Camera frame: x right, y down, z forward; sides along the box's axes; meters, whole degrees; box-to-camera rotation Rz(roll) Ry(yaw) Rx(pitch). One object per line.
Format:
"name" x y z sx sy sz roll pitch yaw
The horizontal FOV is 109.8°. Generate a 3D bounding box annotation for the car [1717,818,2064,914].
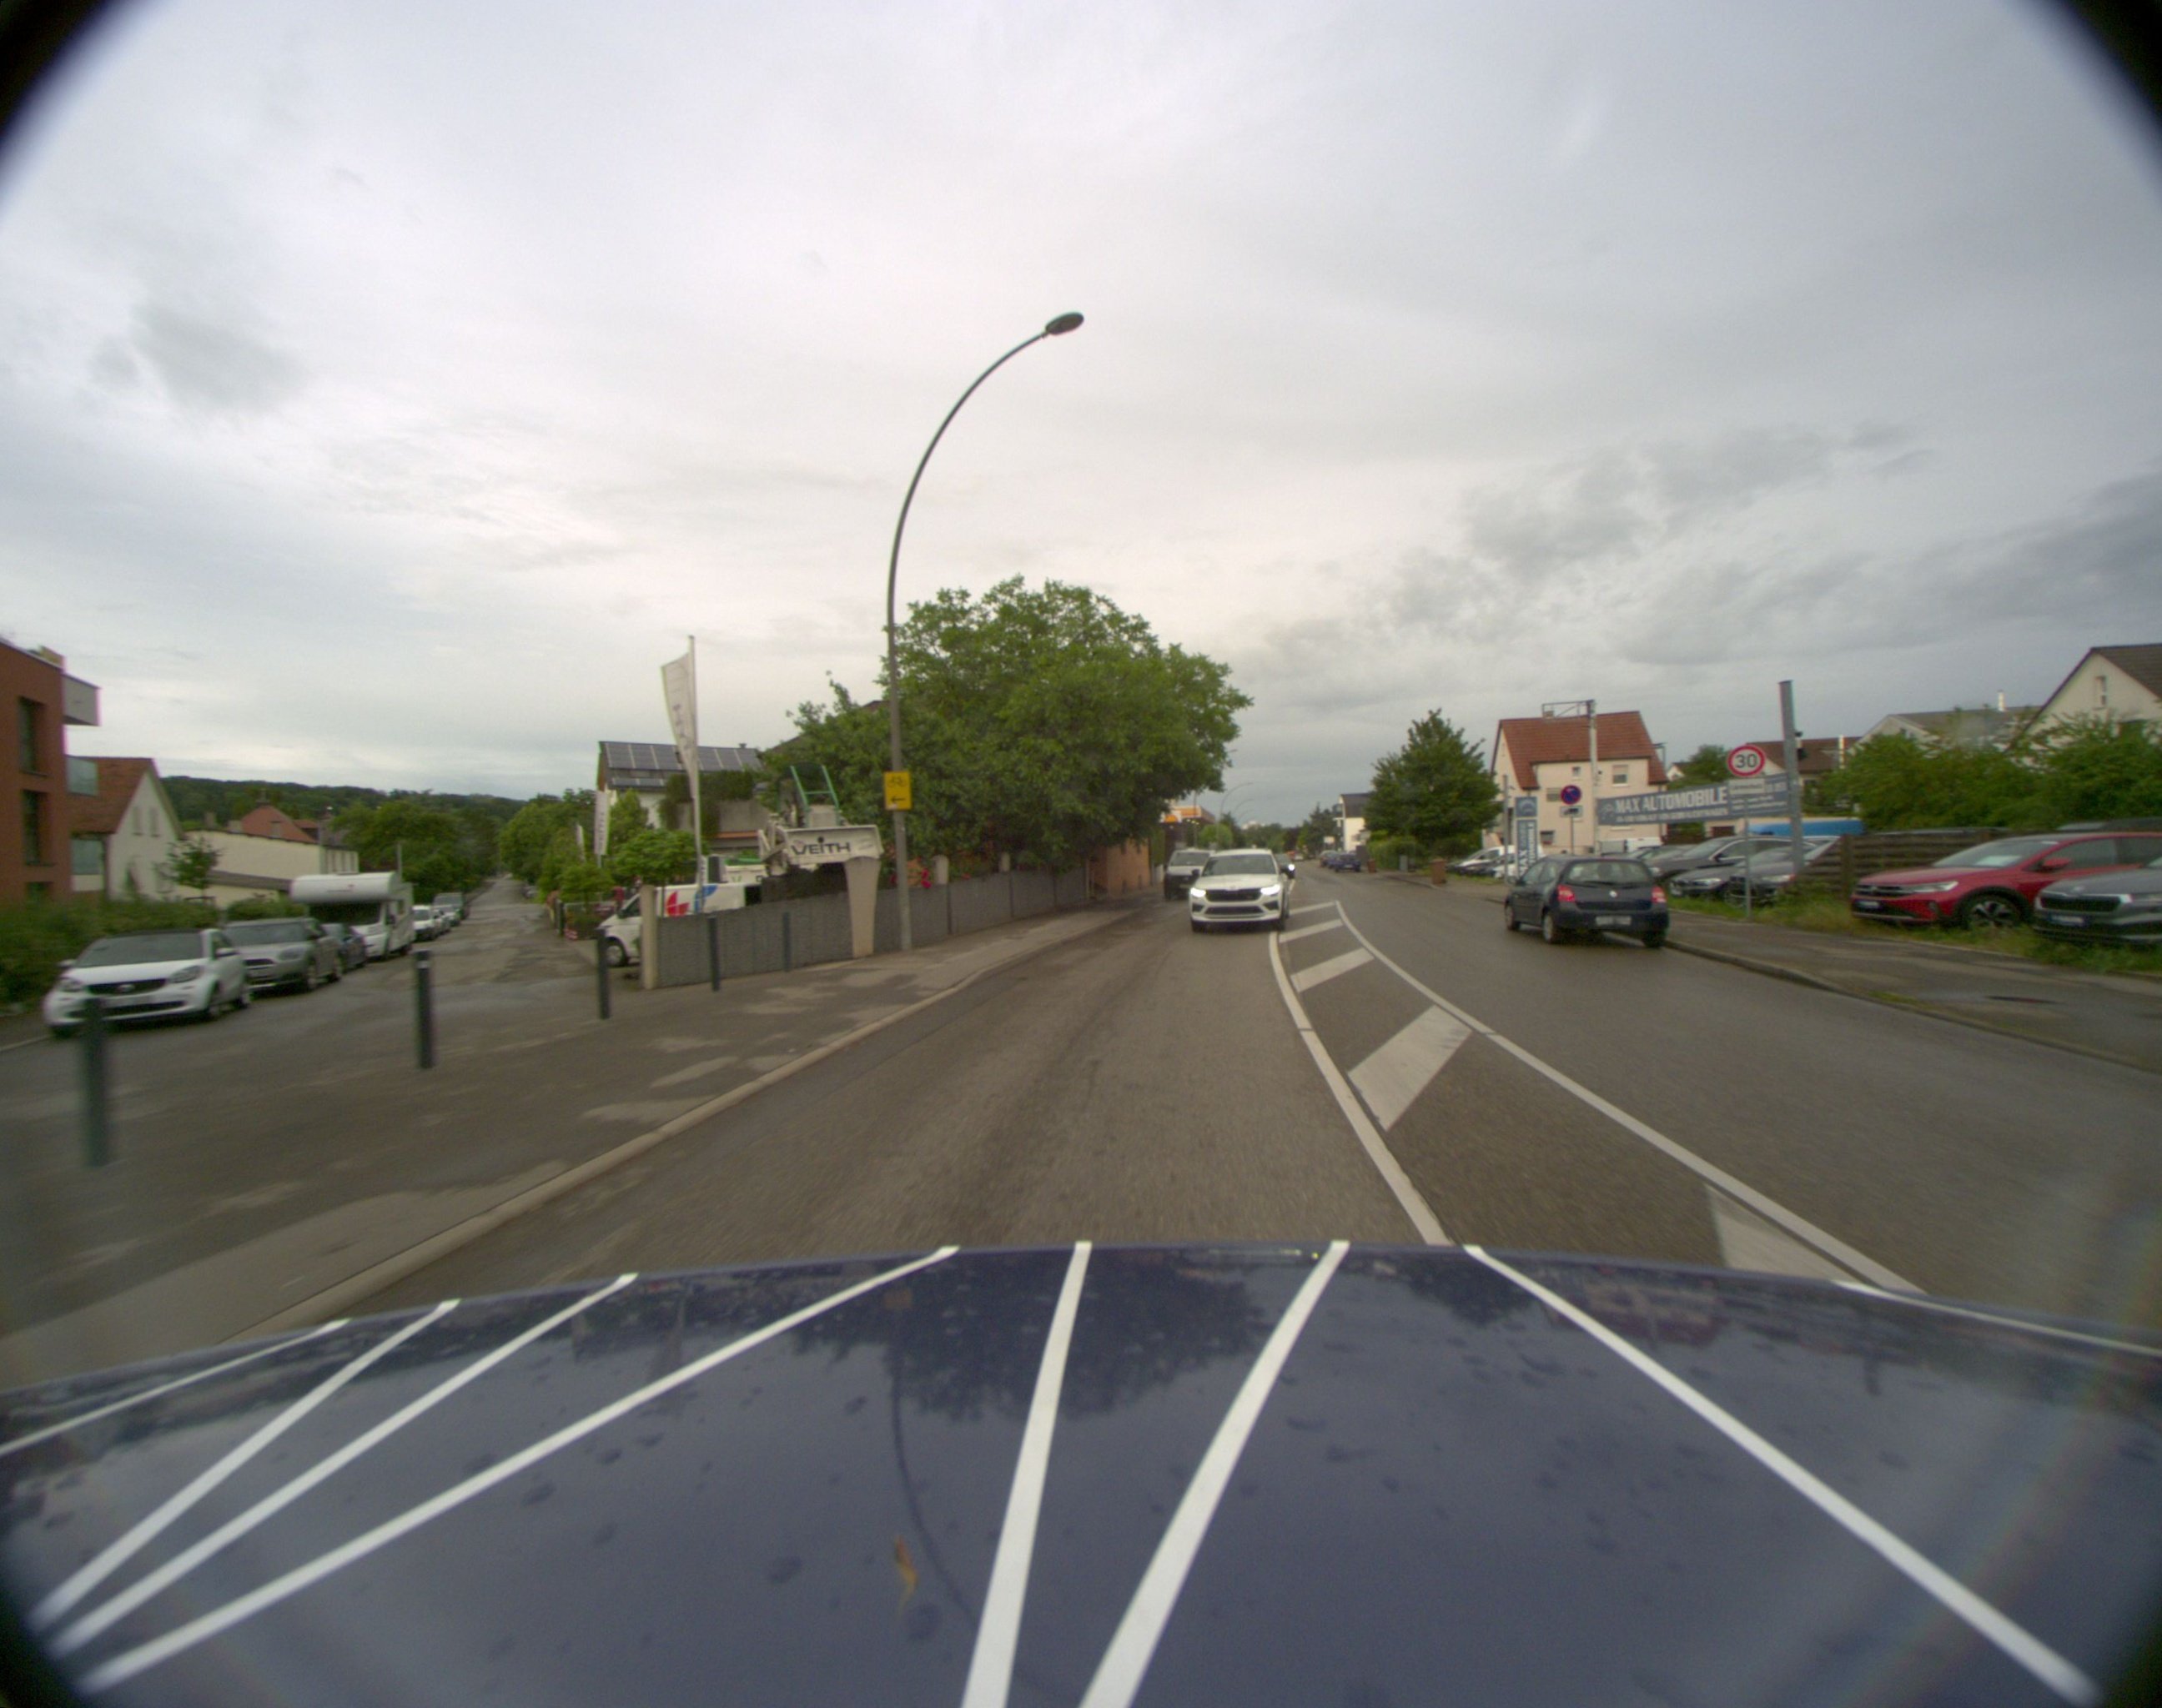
"car" 15.800 0.249 15.158 4.353 1.680 1.961 -2 0 15

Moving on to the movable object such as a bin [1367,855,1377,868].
"movable object such as a bin" 20.305 0.511 53.073 0.541 0.905 0.506 -4 0 13

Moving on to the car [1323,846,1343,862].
"car" 24.983 -0.037 75.464 1.611 1.497 3.711 0 1 14

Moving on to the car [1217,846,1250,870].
"car" 11.367 0.313 56.399 2.094 1.652 4.564 -3 -1 15

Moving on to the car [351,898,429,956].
"car" -28.196 2.910 31.125 2.004 2.002 3.990 -2 0 -38

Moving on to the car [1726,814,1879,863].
"car" 38.681 -0.813 40.909 5.678 2.361 2.049 -2 1 14

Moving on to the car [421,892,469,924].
"car" -42.104 3.526 50.400 1.917 1.891 4.187 -2 0 -34

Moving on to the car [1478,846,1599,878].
"car" 20.940 0.346 34.974 4.382 1.366 1.891 -1 1 14

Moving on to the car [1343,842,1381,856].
"car" 33.846 -0.606 91.623 4.091 1.505 1.885 -1 0 10

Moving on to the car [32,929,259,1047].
"car" -15.366 2.111 12.672 1.731 1.463 2.736 -2 -1 -37

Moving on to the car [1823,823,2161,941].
"car" 14.007 0.389 11.182 3.992 1.535 1.806 -2 0 16

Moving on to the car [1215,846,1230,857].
"car" 20.859 -0.358 112.193 1.997 1.673 4.003 -1 0 10

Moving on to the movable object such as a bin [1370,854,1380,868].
"movable object such as a bin" 20.327 0.465 52.579 0.541 0.905 0.425 -4 0 13

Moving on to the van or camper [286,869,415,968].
"van or camper" -25.290 2.126 26.571 2.330 2.977 5.936 -2 -1 -36

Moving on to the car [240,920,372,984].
"car" -21.052 2.591 20.827 1.782 1.246 4.118 -2 0 -35

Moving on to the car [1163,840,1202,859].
"car" 13.697 -0.605 102.992 4.804 2.506 2.246 -1 0 -8

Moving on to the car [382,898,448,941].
"car" -33.844 3.272 38.726 1.917 1.891 4.187 -2 0 -34

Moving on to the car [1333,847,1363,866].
"car" 20.415 0.187 58.147 1.809 1.395 3.948 0 1 14

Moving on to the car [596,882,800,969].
"car" -9.345 1.736 18.654 4.129 1.859 2.002 -3 -1 15

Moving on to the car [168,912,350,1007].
"car" -17.881 2.189 16.781 1.856 1.533 4.118 -2 0 -35

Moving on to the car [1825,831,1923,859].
"car" 39.839 -0.436 38.221 3.228 1.325 1.339 -1 1 12

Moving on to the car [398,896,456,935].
"car" -37.175 3.463 43.283 1.917 1.891 4.187 -2 0 -34

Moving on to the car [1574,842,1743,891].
"car" 18.816 0.409 24.957 3.992 1.455 1.841 -2 0 15

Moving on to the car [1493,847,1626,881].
"car" 20.285 0.405 32.424 4.457 1.324 1.773 -1 1 14

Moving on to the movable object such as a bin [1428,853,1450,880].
"movable object such as a bin" 15.690 0.540 33.280 0.709 1.123 0.736 -2 1 14

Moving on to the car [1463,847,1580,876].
"car" 21.339 0.374 36.973 4.564 1.302 1.891 -1 1 14

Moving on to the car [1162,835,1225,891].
"car" 4.656 0.354 30.831 1.780 2.017 4.760 -3 -1 17

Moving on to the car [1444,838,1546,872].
"car" 22.852 0.058 42.109 4.565 1.780 1.899 -1 1 10

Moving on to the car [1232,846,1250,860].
"car" 16.461 -0.137 77.886 1.658 1.393 3.805 -2 0 14

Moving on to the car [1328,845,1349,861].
"car" 23.154 -0.086 68.383 1.548 1.395 3.600 0 1 14

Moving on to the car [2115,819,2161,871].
"car" 34.554 -0.328 22.895 3.739 1.562 1.789 -1 1 15

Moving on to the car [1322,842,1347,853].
"car" 46.021 -1.093 138.042 3.994 1.637 2.002 -5 -1 12

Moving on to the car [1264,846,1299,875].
"car" 11.838 0.367 45.082 1.776 1.552 4.004 -3 0 12

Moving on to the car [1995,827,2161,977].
"car" 13.291 0.427 8.218 3.992 1.535 1.806 -2 0 16

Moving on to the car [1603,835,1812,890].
"car" 18.309 0.260 22.448 4.353 1.455 1.943 -2 0 15

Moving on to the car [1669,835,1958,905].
"car" 16.510 0.367 17.418 4.353 1.423 1.961 -2 0 15

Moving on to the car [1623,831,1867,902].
"car" 17.184 0.328 19.949 4.353 1.681 2.061 -2 0 15

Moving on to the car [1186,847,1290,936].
"car" 3.525 0.696 16.651 1.882 1.650 4.836 -1 0 14

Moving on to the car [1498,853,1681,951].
"car" 8.756 0.741 13.444 1.629 1.425 3.687 -1 1 16

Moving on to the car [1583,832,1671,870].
"car" 29.632 -0.185 41.436 1.997 1.919 5.058 -1 1 12

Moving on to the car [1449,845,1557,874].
"car" 21.914 0.282 39.625 4.565 1.410 1.899 -1 1 10

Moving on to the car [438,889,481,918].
"car" -46.389 3.657 56.797 1.917 1.891 4.187 -2 0 -32
